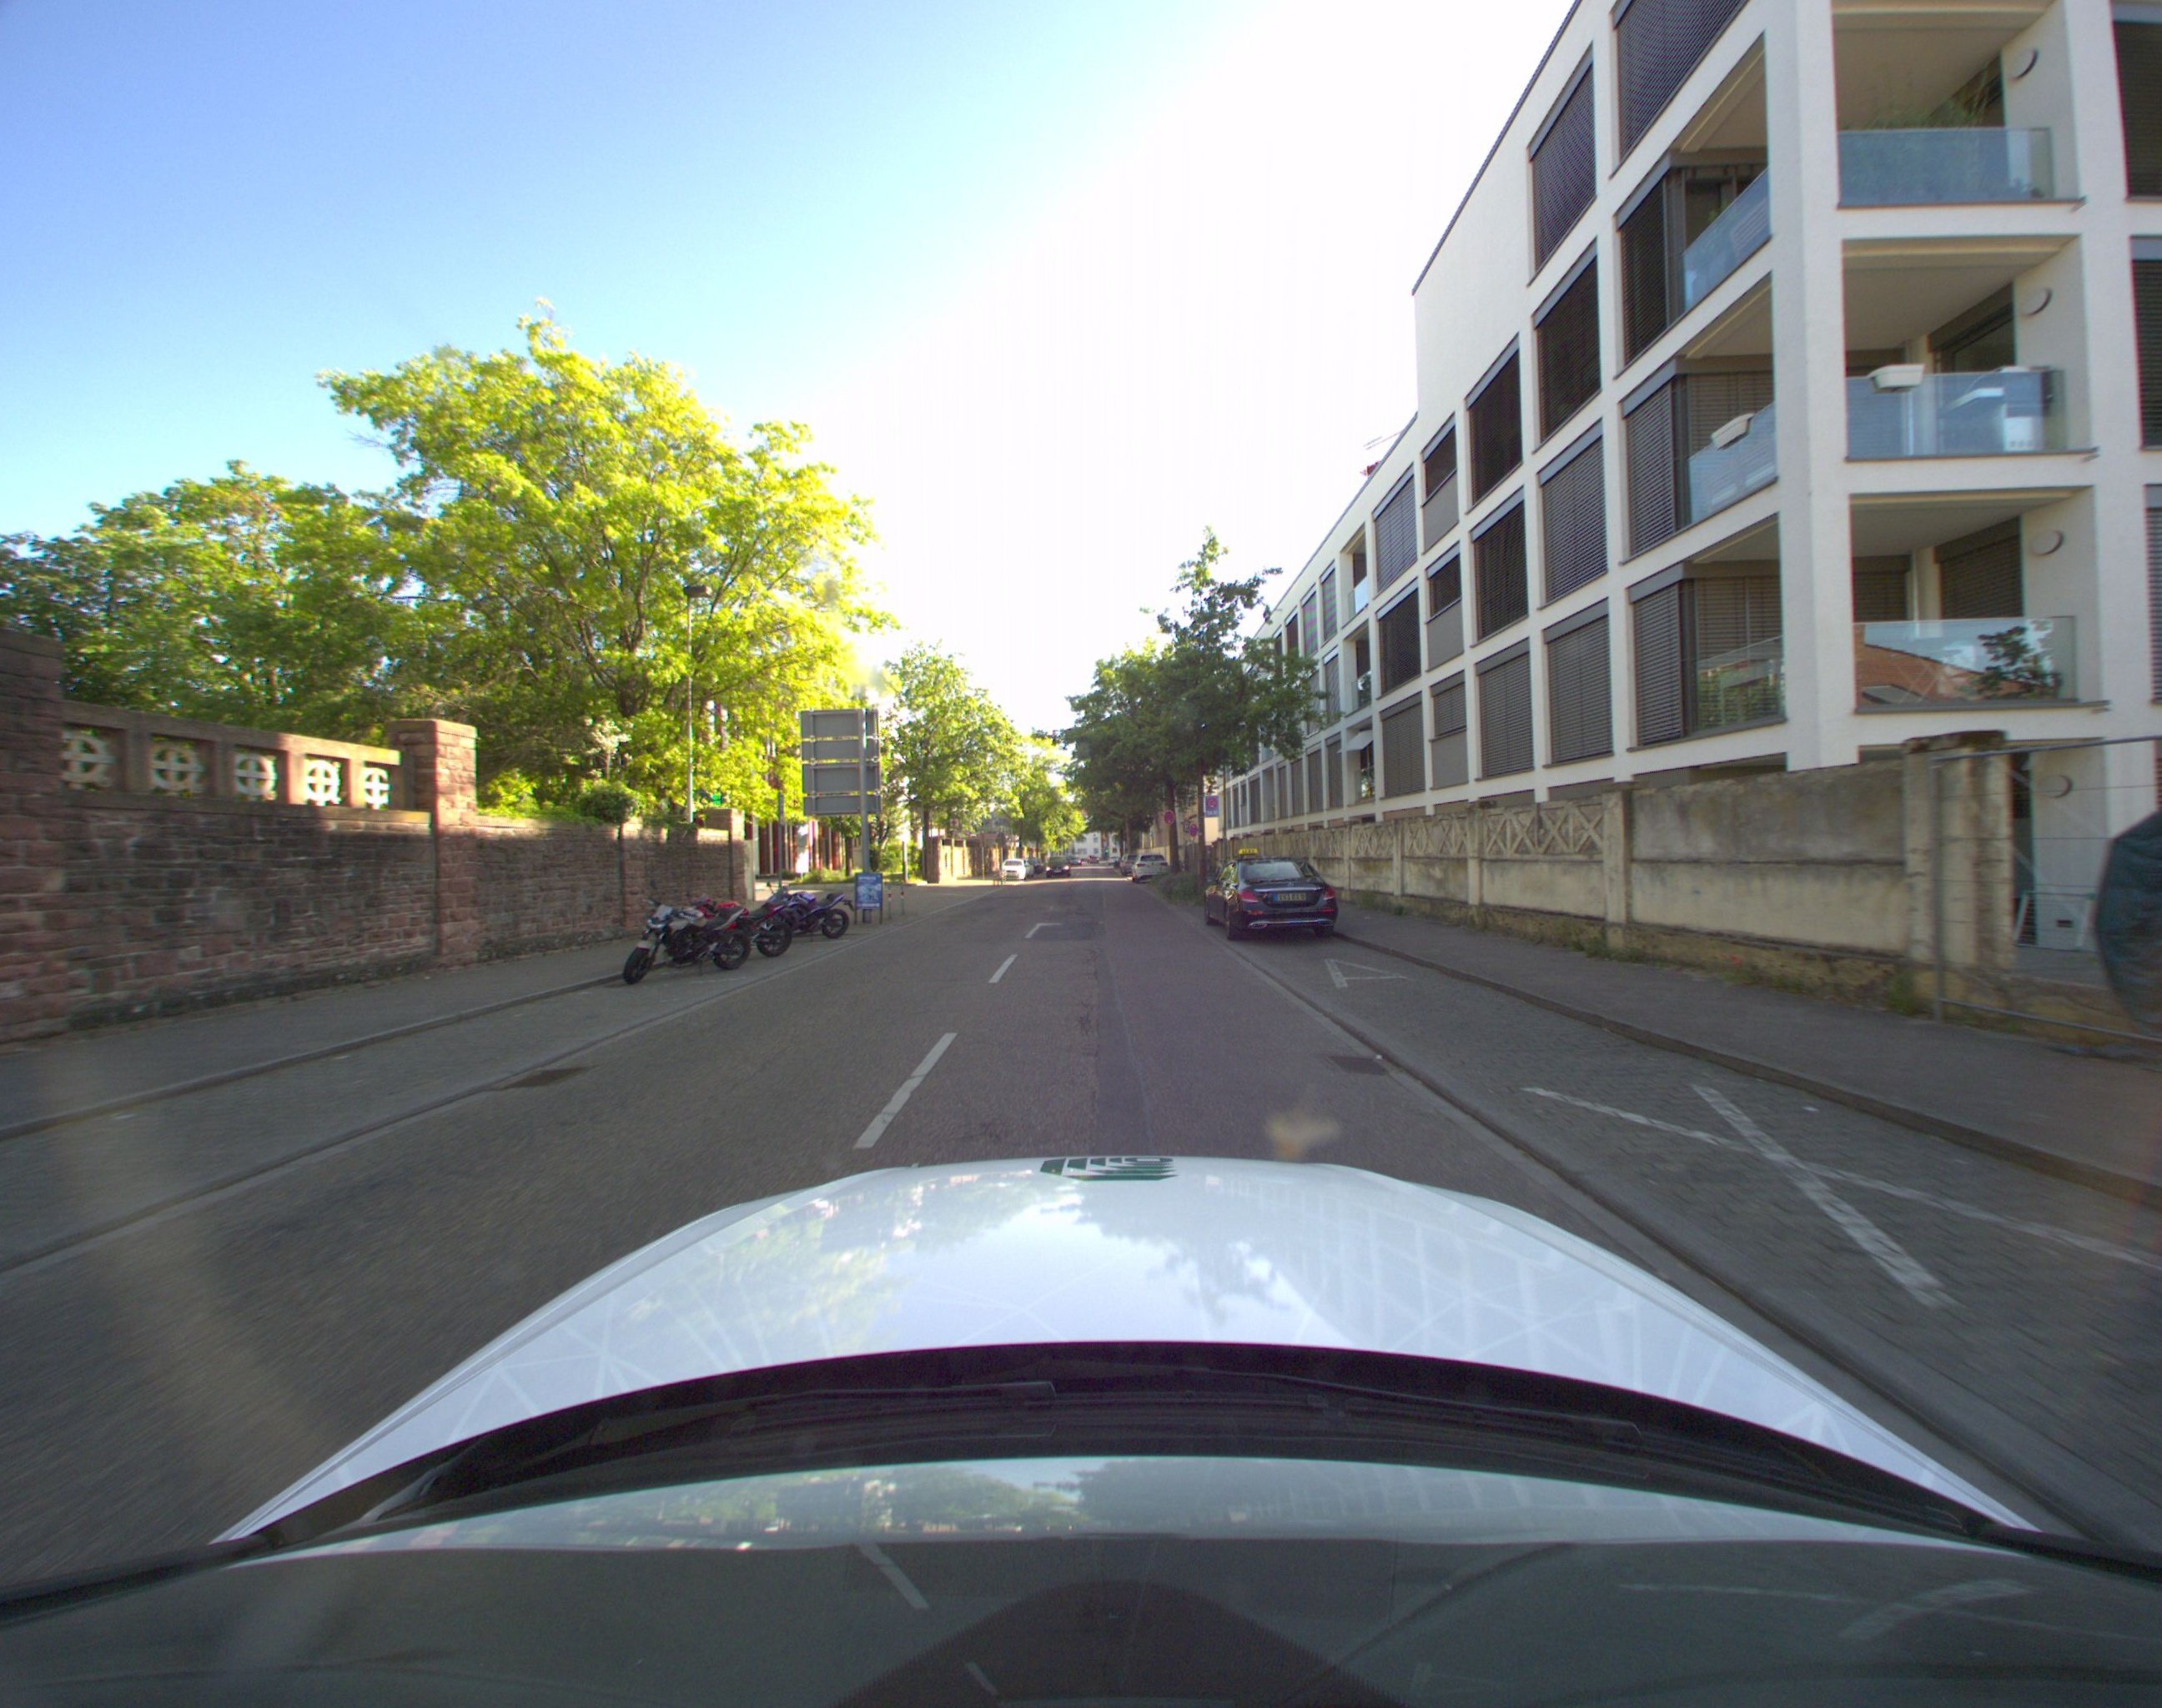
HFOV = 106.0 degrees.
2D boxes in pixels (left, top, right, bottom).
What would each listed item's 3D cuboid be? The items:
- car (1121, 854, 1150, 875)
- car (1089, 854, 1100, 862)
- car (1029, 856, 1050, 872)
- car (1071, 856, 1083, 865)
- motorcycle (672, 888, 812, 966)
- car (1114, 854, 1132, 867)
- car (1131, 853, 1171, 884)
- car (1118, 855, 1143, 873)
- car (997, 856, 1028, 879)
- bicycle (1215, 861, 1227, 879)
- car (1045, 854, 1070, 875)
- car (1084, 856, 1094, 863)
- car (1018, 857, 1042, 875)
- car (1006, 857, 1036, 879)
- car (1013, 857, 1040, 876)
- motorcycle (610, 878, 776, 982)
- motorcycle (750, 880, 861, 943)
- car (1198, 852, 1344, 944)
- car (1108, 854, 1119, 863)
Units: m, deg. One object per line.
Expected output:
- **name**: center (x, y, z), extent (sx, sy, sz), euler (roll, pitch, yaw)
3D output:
- **car**: center (3.972, 0.764, 59.926), extent (1.986, 1.465, 3.838), euler (-2, 0, 2)
- **car**: center (2.493, 0.781, 150.637), extent (1.882, 1.400, 3.838), euler (-2, 0, 2)
- **car**: center (-4.415, 1.053, 87.419), extent (1.900, 1.530, 4.000), euler (-1, 0, 1)
- **car**: center (-0.545, 0.993, 121.875), extent (1.580, 1.275, 3.838), euler (-2, 0, 2)
- **motorcycle**: center (-5.495, 1.147, 13.348), extent (0.570, 1.074, 2.135), euler (-2, 0, 34)
- **car**: center (4.658, 0.708, 90.687), extent (1.986, 1.425, 3.838), euler (-2, 0, 2)
- **car**: center (3.756, 0.751, 44.161), extent (1.943, 1.578, 3.838), euler (-2, 0, 2)
- **car**: center (4.188, 0.863, 69.320), extent (1.986, 1.425, 3.838), euler (-2, 0, 2)
- **car**: center (-4.687, 0.910, 56.110), extent (1.761, 1.487, 3.999), euler (-2, 0, 0)
- **bicycle**: center (6.571, 0.753, 38.338), extent (0.354, 0.842, 1.325), euler (-1, 0, 2)
- **car**: center (-1.744, 0.769, 61.413), extent (1.647, 1.530, 4.001), euler (-2, 0, 1)
- **car**: center (1.712, 1.108, 170.424), extent (1.988, 1.453, 3.997), euler (-2, 0, -2)
- **car**: center (-4.624, 1.063, 74.354), extent (1.900, 1.530, 4.001), euler (-2, 0, 1)
- **car**: center (-4.548, 1.061, 62.179), extent (1.900, 1.530, 4.001), euler (-2, 0, 1)
- **car**: center (-4.666, 1.063, 70.212), extent (1.900, 1.530, 4.001), euler (-2, 0, 1)
- **motorcycle**: center (-5.530, 1.038, 11.768), extent (0.570, 1.275, 2.135), euler (-2, 0, 34)
- **motorcycle**: center (-5.410, 1.096, 16.133), extent (0.570, 1.074, 2.135), euler (-2, 0, 34)
- **car**: center (3.391, 0.718, 15.302), extent (1.761, 1.440, 3.999), euler (-2, 0, 0)
- **car**: center (5.031, 0.680, 125.089), extent (1.580, 1.400, 3.838), euler (-2, 0, 2)
